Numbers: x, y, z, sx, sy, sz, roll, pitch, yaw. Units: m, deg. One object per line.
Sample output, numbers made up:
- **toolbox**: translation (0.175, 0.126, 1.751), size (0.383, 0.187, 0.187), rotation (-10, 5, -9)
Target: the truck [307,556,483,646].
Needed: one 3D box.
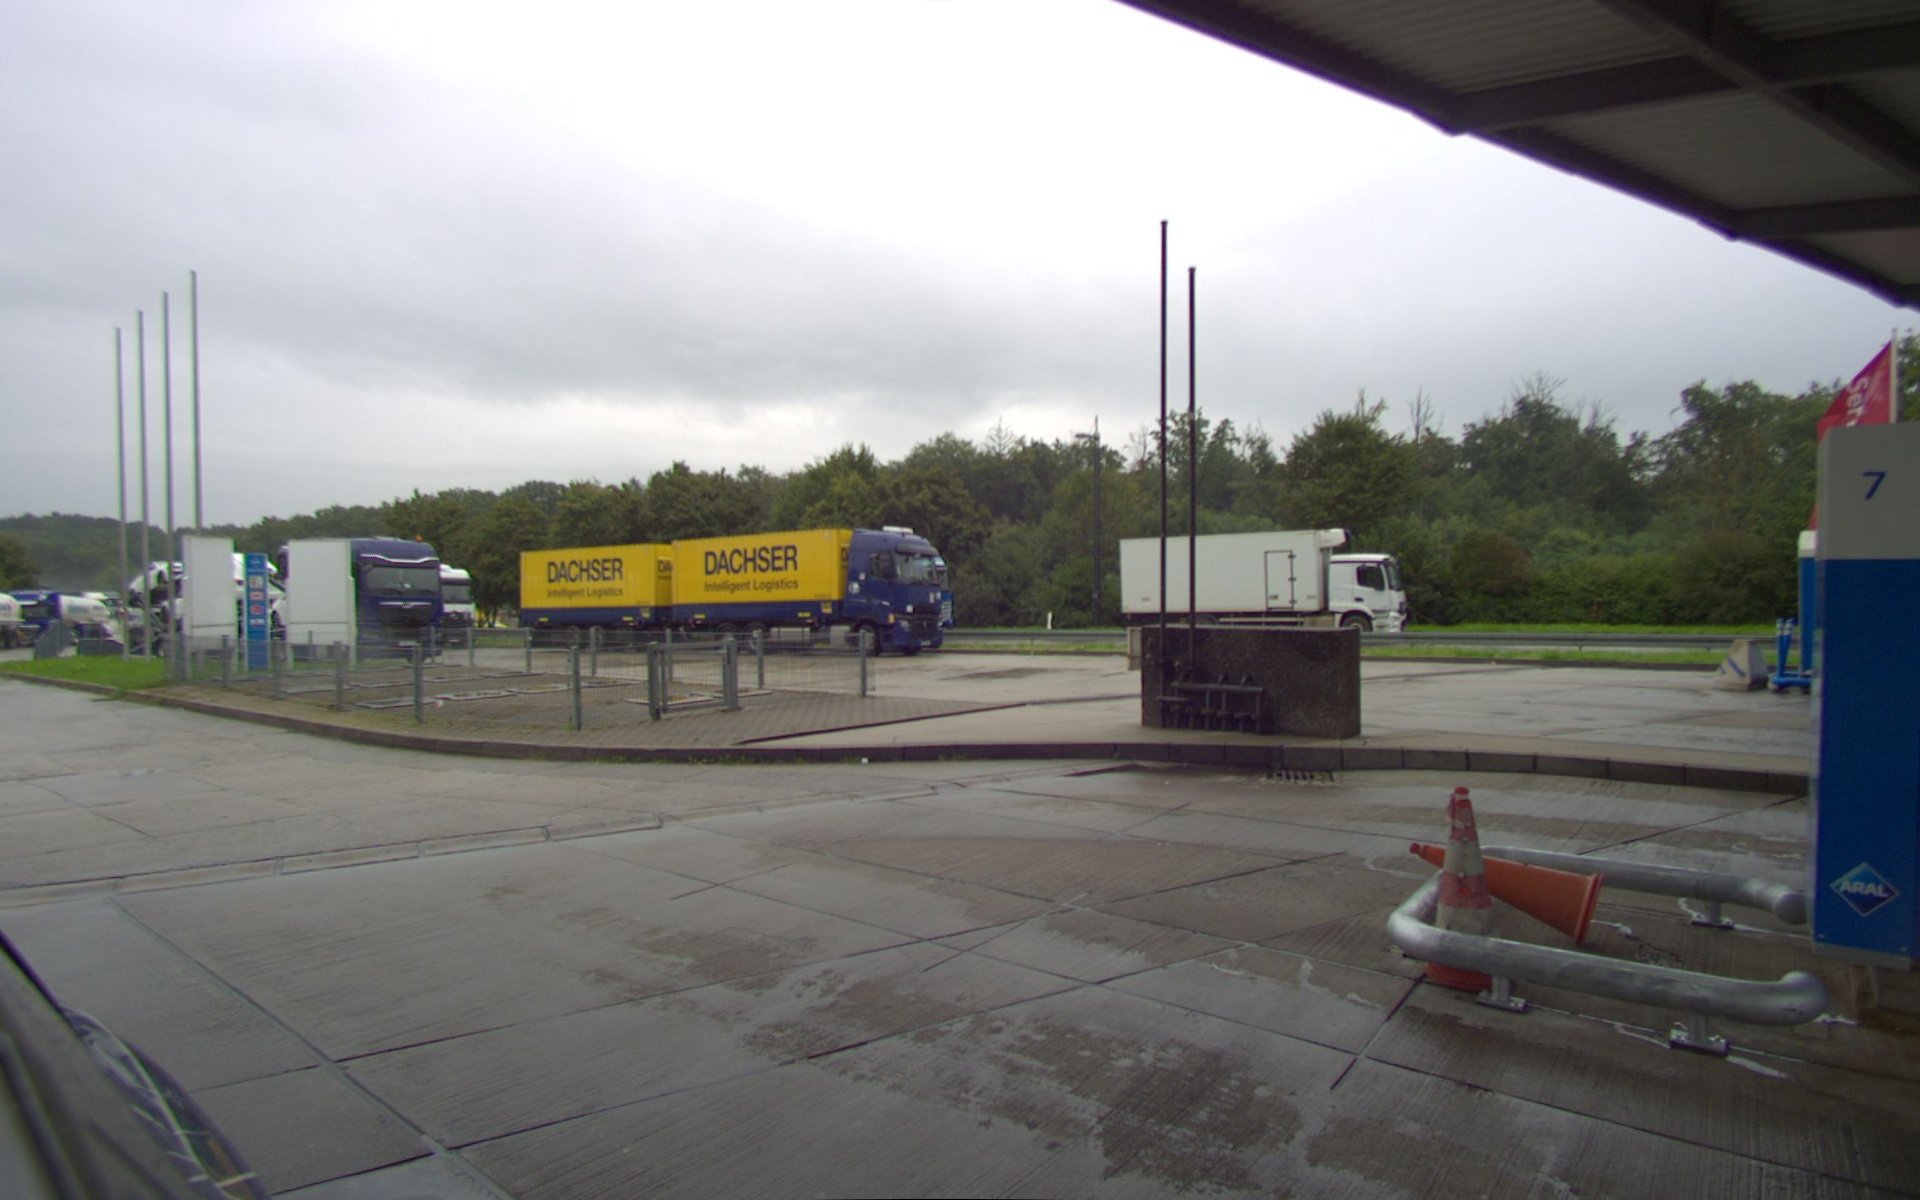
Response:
- **truck**: translation (-27.313, 0.102, 48.628), size (10.654, 3.946, 2.727), rotation (-1, 0, 33)

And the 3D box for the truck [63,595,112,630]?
- **truck**: translation (-132.805, 1.941, 154.032), size (11.498, 5.160, 3.109), rotation (-1, 0, 36)

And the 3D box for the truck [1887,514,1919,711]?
- **truck**: translation (14.998, 0.122, 11.954), size (5.859, 2.513, 2.208), rotation (-1, 0, 41)

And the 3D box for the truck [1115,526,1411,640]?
- **truck**: translation (10.974, -0.521, 37.448), size (10.195, 3.836, 2.395), rotation (-1, 0, 31)

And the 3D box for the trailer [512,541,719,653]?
- **trailer**: translation (-13.494, -0.076, 39.258), size (8.679, 3.946, 2.728), rotation (-1, 0, 32)

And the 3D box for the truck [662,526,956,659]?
- **truck**: translation (-5.332, -0.181, 34.028), size (10.654, 3.946, 2.727), rotation (-1, 0, 33)

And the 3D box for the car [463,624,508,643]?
- **car**: translation (-45.613, 3.177, 97.257), size (3.977, 1.772, 1.875), rotation (-1, 0, 25)

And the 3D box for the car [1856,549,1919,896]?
- **car**: translation (6.915, 0.541, 3.799), size (5.269, 1.620, 1.842), rotation (-1, 0, 41)

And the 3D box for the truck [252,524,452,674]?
- **truck**: translation (-19.004, 0.009, 31.477), size (7.089, 4.213, 2.635), rotation (-1, 0, 35)

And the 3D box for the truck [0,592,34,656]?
- **truck**: translation (-55.151, 1.338, 53.689), size (3.454, 3.633, 14.444), rotation (-1, -1, -19)

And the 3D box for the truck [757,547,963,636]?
- **truck**: translation (-4.874, -0.318, 47.643), size (10.195, 3.836, 2.395), rotation (-1, 0, 31)

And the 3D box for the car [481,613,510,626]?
- **car**: translation (-61.266, 2.568, 133.525), size (3.993, 1.772, 1.867), rotation (-1, 0, 37)

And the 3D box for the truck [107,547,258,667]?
- **truck**: translation (-29.584, 0.298, 38.446), size (6.605, 4.213, 2.635), rotation (-1, 0, 35)

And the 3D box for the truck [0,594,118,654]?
- **truck**: translation (-61.489, 1.621, 68.656), size (3.454, 3.633, 14.709), rotation (-1, -1, -27)

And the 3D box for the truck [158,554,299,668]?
- **truck**: translation (-26.102, 0.394, 36.073), size (4.738, 3.800, 2.635), rotation (-1, 0, 34)
